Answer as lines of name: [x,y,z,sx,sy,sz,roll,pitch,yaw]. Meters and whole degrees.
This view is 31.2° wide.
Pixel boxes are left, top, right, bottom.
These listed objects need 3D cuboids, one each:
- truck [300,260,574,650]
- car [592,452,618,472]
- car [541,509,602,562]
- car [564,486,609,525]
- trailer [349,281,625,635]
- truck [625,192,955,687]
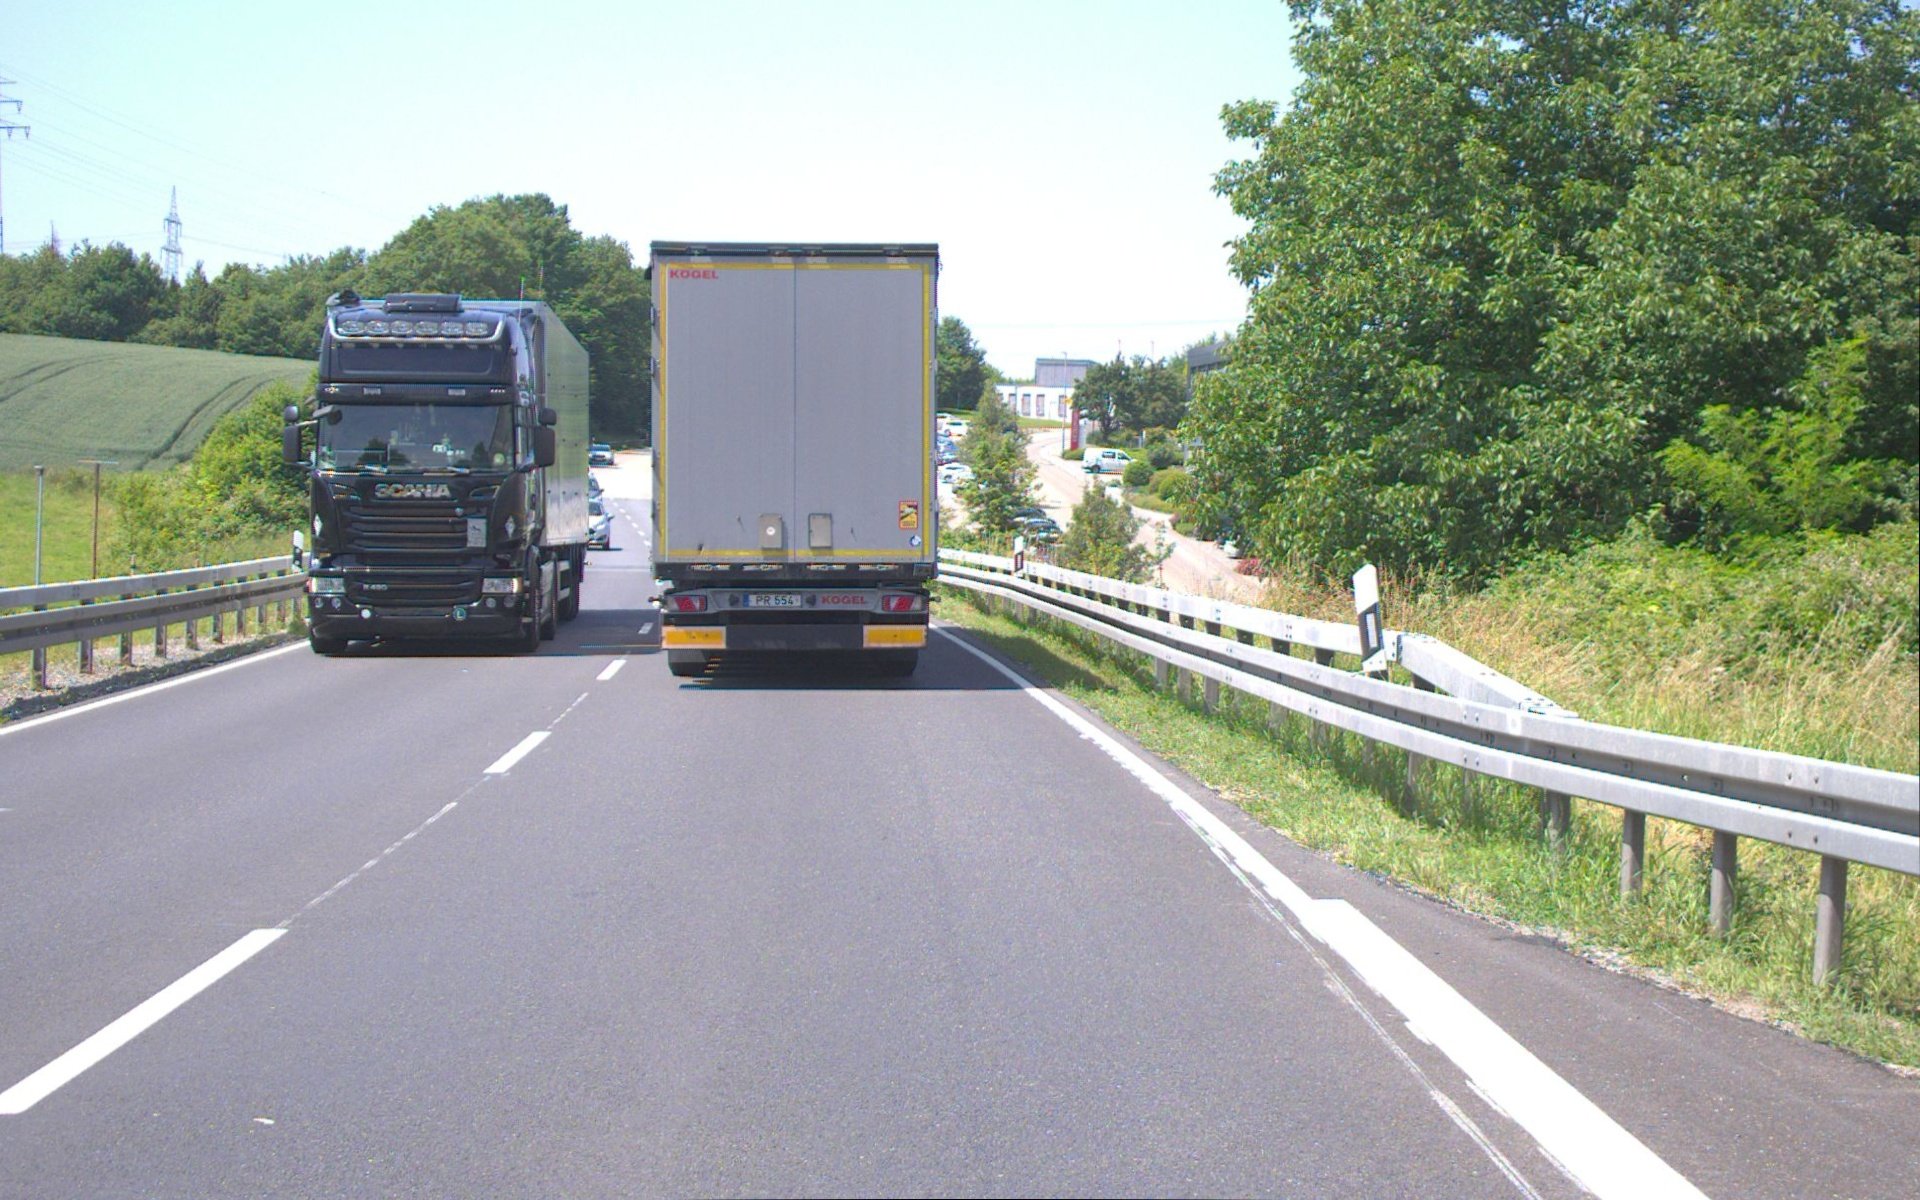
truck: [-5.947,-1.643,39.861,2.445,4.180,5.649,-1,2,-2]
car: [-25.972,-10.087,251.460,1.781,1.430,4.836,0,2,-7]
car: [-11.205,-1.883,99.008,1.646,1.435,4.160,-1,2,-7]
car: [-15.775,-3.999,145.274,1.806,1.584,4.380,0,2,-5]
trailer: [-6.272,-1.875,47.648,2.445,4.170,14.017,-1,2,-2]
truck: [-1.754,-1.540,35.204,2.866,4.344,9.790,-1,1,-3]
